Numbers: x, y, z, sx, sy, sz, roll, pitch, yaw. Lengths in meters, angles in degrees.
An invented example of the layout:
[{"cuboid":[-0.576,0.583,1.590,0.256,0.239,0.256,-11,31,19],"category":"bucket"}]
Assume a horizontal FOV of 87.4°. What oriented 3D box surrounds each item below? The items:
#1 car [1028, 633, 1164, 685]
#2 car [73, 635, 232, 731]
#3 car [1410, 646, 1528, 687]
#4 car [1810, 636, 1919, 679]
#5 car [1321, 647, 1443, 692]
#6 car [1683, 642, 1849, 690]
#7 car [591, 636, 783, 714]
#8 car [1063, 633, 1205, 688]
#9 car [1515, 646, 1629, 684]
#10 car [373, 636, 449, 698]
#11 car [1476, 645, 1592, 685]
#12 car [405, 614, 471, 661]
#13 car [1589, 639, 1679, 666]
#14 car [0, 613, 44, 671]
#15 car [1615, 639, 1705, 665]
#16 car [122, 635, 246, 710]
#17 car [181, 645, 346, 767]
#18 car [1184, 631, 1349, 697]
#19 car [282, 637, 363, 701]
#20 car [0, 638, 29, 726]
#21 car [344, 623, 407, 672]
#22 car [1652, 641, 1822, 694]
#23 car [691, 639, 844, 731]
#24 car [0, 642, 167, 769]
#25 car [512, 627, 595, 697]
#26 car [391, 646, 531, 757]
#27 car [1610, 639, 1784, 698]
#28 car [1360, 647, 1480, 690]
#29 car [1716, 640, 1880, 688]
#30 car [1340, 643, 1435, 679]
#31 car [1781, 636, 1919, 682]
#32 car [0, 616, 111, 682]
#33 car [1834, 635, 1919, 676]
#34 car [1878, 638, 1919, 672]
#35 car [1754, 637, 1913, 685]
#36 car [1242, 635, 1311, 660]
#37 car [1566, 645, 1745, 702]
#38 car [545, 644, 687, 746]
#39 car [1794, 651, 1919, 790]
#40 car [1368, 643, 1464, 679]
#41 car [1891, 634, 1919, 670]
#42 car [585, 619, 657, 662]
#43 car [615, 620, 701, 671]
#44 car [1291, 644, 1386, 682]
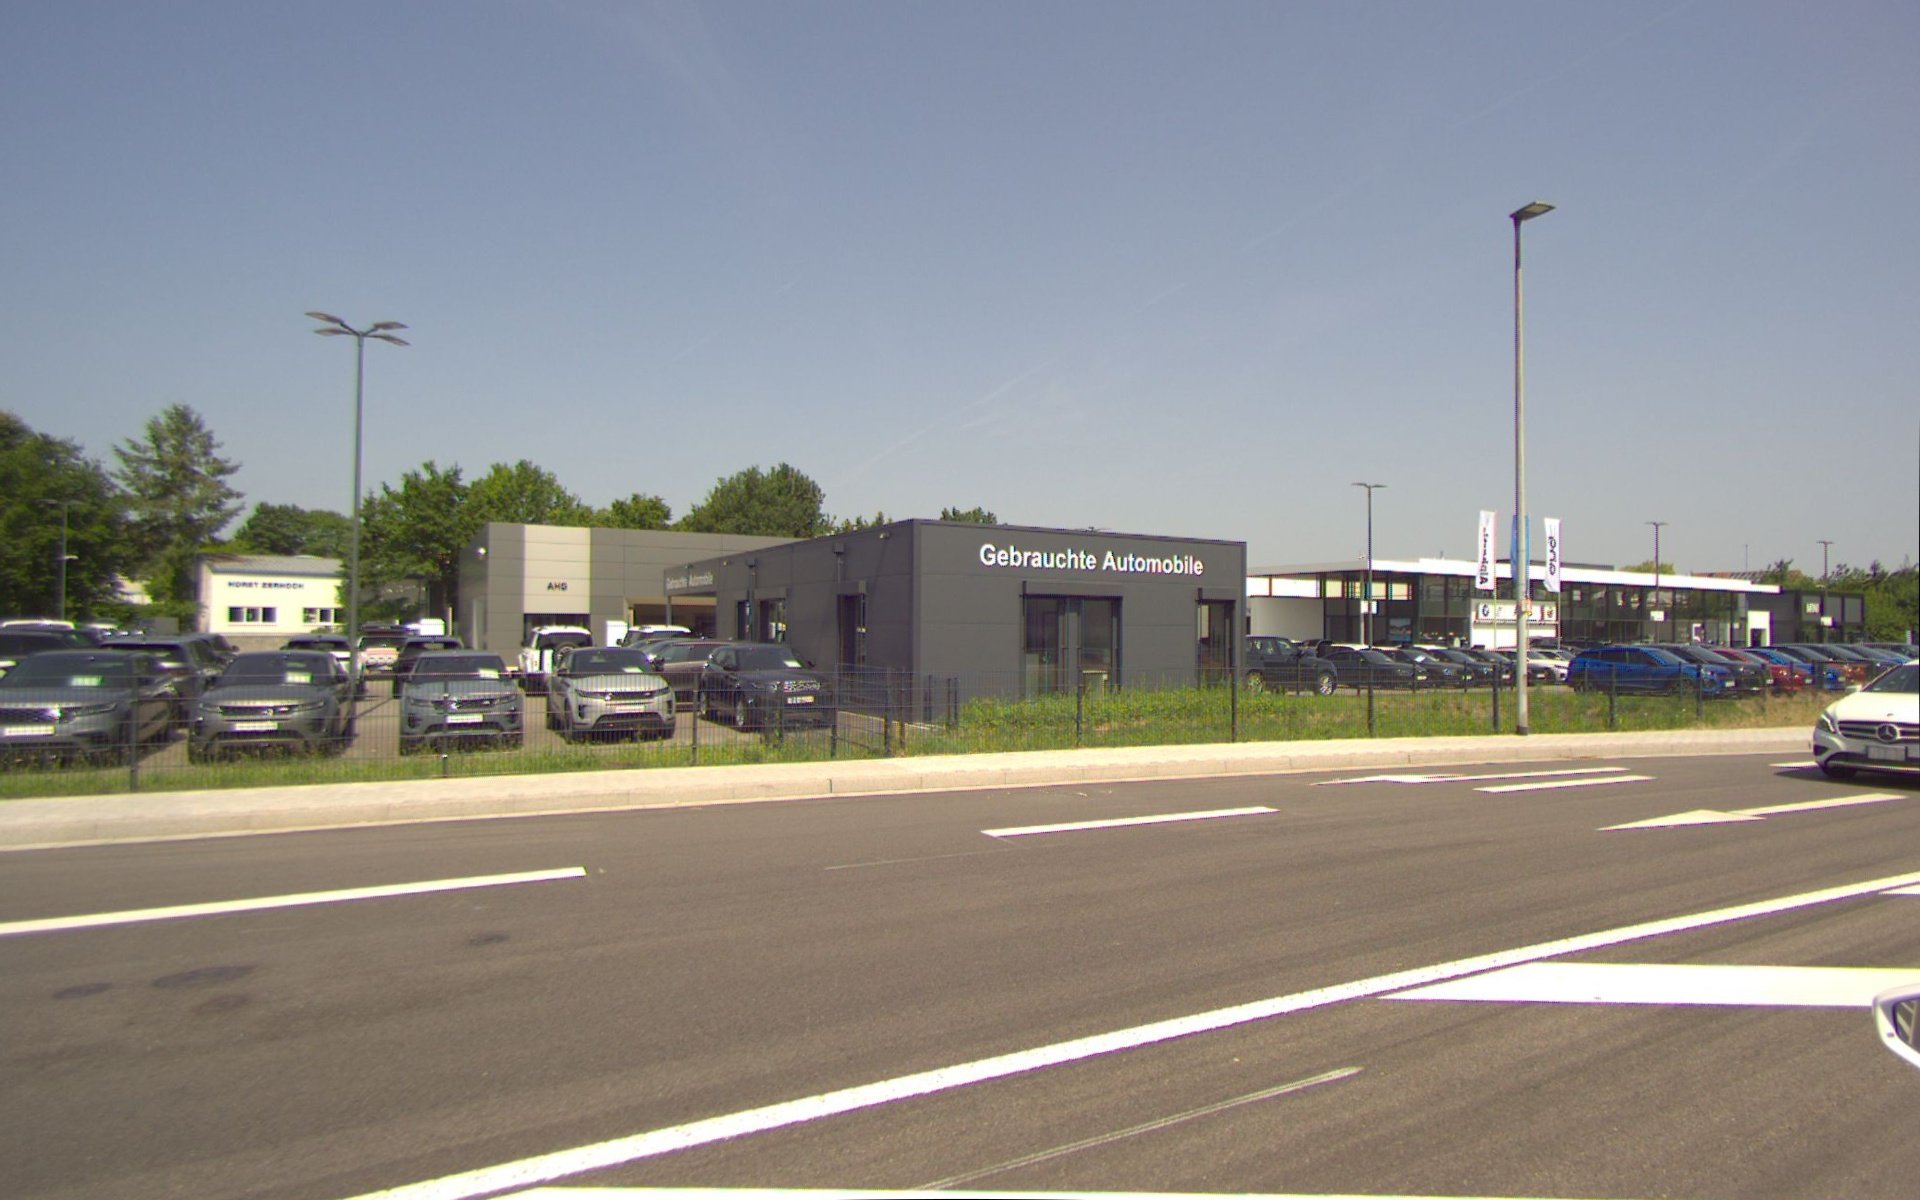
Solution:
[{"cuboid":[4.917,2.130,36.210,4.698,1.761,1.944,2,-3,-31],"category":"car"},{"cuboid":[-16.137,1.572,20.290,1.954,1.687,3.967,0,-2,-31],"category":"car"},{"cuboid":[20.635,2.647,40.855,1.794,1.500,3.967,0,-2,-31],"category":"car"},{"cuboid":[35.593,2.191,38.719,1.794,1.554,3.967,0,-2,-31],"category":"car"},{"cuboid":[15.890,2.577,37.966,1.794,1.500,3.967,0,-2,-31],"category":"car"},{"cuboid":[26.924,2.158,33.677,1.766,1.464,3.967,0,-2,-31],"category":"car"},{"cuboid":[-6.470,1.713,23.906,4.113,1.653,1.808,0,-2,-31],"category":"car"},{"cuboid":[6.007,2.063,34.468,4.698,1.761,1.944,2,-3,-31],"category":"car"},{"cuboid":[27.095,2.858,44.578,1.794,1.514,3.967,0,-2,-31],"category":"car"},{"cuboid":[-14.896,1.752,27.180,1.667,1.464,3.665,0,-1,-31],"category":"car"},{"cuboid":[24.505,2.740,43.028,1.794,1.514,3.967,0,-2,-31],"category":"car"},{"cuboid":[-16.939,1.184,32.528,1.667,1.440,3.665,0,-1,-31],"category":"car"},{"cuboid":[40.665,3.133,60.666,1.793,1.486,4.146,0,-2,-29],"category":"car"},{"cuboid":[-31.143,1.290,30.679,4.258,1.757,1.956,0,-1,-24],"category":"car"},{"cuboid":[42.994,3.142,61.774,1.793,1.486,4.146,0,-2,-29],"category":"car"},{"cuboid":[-19.187,1.720,25.014,1.954,1.687,3.967,0,-2,-31],"category":"car"},{"cuboid":[-11.294,1.618,16.550,1.954,1.653,3.967,0,-2,-31],"category":"car"},{"cuboid":[8.822,1.815,28.801,4.698,1.761,1.944,2,-3,-31],"category":"car"},{"cuboid":[-16.551,1.728,26.206,1.667,1.464,3.665,0,-1,-31],"category":"car"},{"cuboid":[-18.894,1.449,16.825,1.888,1.582,4.512,1,-1,13],"category":"car"},{"cuboid":[-18.758,1.478,32.219,1.667,1.464,3.665,0,-1,-31],"category":"car"},{"cuboid":[24.968,2.123,32.430,1.794,1.548,3.967,0,-2,-31],"category":"car"},{"cuboid":[-4.090,1.655,20.845,1.802,1.653,4.127,0,-2,-31],"category":"car"},{"cuboid":[-13.701,1.511,15.434,1.865,1.653,3.967,0,-2,-31],"category":"car"},{"cuboid":[-11.778,1.714,28.995,1.667,1.852,3.818,0,-1,-31],"category":"car"},{"cuboid":[-8.976,1.681,17.902,1.954,1.653,3.967,0,-2,-31],"category":"car"},{"cuboid":[22.713,2.060,31.112,1.794,1.657,3.967,0,-2,-31],"category":"car"},{"cuboid":[17.892,2.642,39.257,1.794,1.500,3.967,0,-2,-31],"category":"car"},{"cuboid":[28.993,2.163,34.880,1.893,1.514,3.967,0,-2,-31],"category":"car"},{"cuboid":[20.440,2.885,48.147,1.660,1.615,3.964,0,-2,-33],"category":"car"},{"cuboid":[33.347,2.153,37.354,1.949,1.554,3.967,0,-2,-31],"category":"car"},{"cuboid":[-25.960,1.339,28.676,1.945,1.757,4.282,0,-1,-31],"category":"car"},{"cuboid":[37.866,2.198,40.183,2.030,1.593,3.967,0,-2,-31],"category":"car"},{"cuboid":[41.702,2.326,42.405,1.855,1.409,3.971,0,-2,-28],"category":"car"},{"cuboid":[31.308,2.143,36.115,1.794,1.554,3.967,0,-2,-31],"category":"car"},{"cuboid":[20.300,3.033,64.583,1.609,1.500,4.309,0,-2,-31],"category":"car"},{"cuboid":[20.577,2.121,29.877,1.889,1.500,3.967,0,-2,-31],"category":"car"},{"cuboid":[-6.681,1.701,19.264,1.943,1.653,3.970,0,-2,-29],"category":"car"},{"cuboid":[11.778,1.337,11.737,4.000,1.434,1.774,2,-2,-28],"category":"car"},{"cuboid":[22.408,2.979,49.497,1.794,1.607,3.967,0,-2,-31],"category":"car"},{"cuboid":[43.671,2.285,43.943,1.793,1.554,3.970,0,-2,-29],"category":"car"},{"cuboid":[-12.006,1.387,35.424,1.667,1.440,3.665,0,-1,-31],"category":"car"},{"cuboid":[-9.253,1.343,30.605,1.667,1.440,3.818,0,-1,-31],"category":"car"},{"cuboid":[17.556,2.873,46.756,1.660,1.615,3.964,0,-2,-33],"category":"car"}]
